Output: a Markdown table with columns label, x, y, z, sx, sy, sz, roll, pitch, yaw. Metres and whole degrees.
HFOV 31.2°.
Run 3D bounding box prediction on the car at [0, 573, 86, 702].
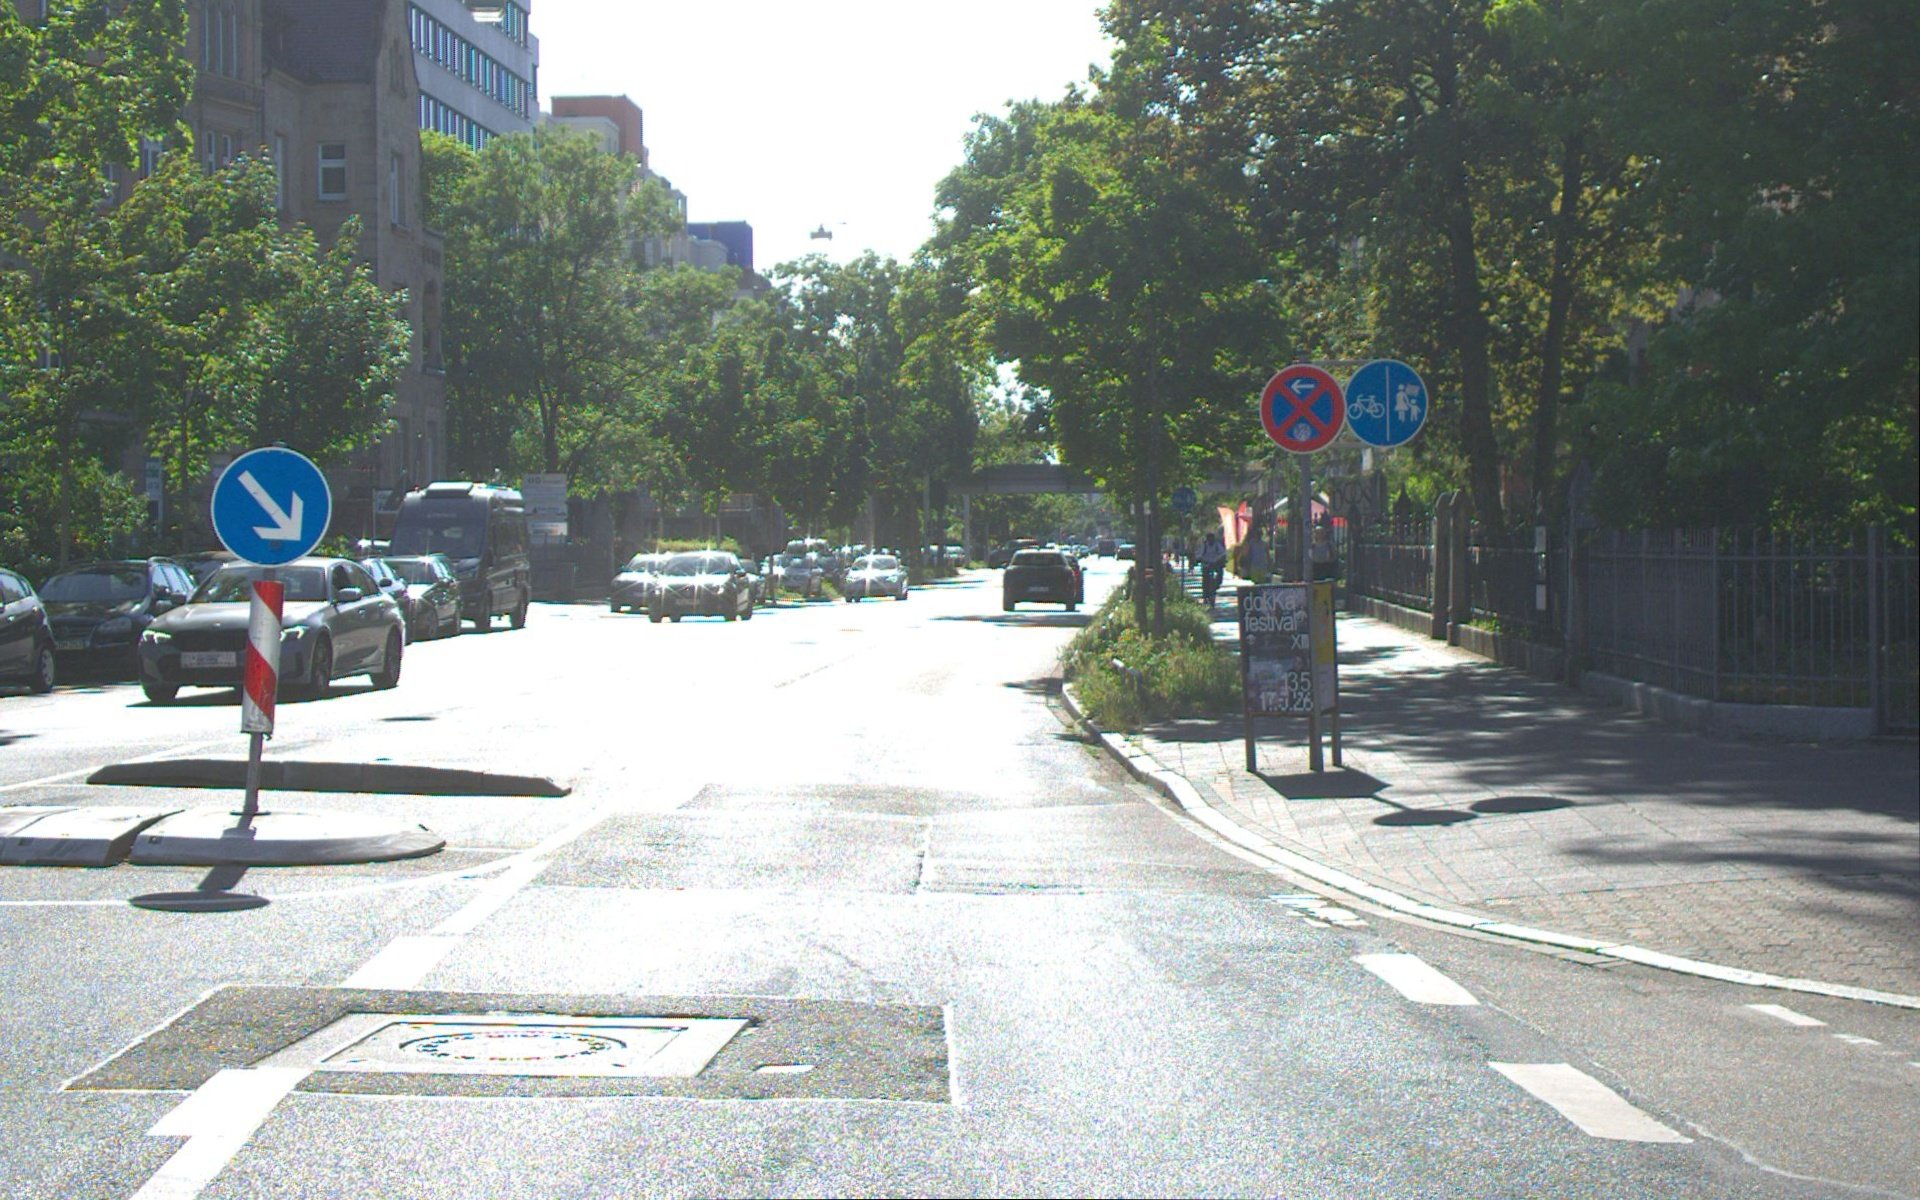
| label | x | y | z | sx | sy | sz | roll | pitch | yaw |
| --- | --- | --- | --- | --- | --- | --- | --- | --- | --- |
| car | -10.932 | 0.417 | 37.307 | 1.713 | 1.348 | 3.999 | 1 | -2 | 3 |

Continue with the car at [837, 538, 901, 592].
| label | x | y | z | sx | sy | sz | roll | pitch | yaw |
| --- | --- | --- | --- | --- | --- | --- | --- | --- | --- |
| car | -2.841 | -1.074 | 107.920 | 1.935 | 1.514 | 4.030 | 1 | -2 | -1 |

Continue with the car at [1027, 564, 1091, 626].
| label | x | y | z | sx | sy | sz | roll | pitch | yaw |
| --- | --- | --- | --- | --- | --- | --- | --- | --- | --- |
| car | 2.951 | -0.162 | 101.958 | 1.819 | 1.734 | 4.000 | 0 | 1 | 2 |

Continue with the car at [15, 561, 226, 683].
| label | x | y | z | sx | sy | sz | roll | pitch | yaw |
| --- | --- | --- | --- | --- | --- | --- | --- | --- | --- |
| car | -10.452 | 0.301 | 43.006 | 1.524 | 1.428 | 3.336 | 0 | -2 | 5 |

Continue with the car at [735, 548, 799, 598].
| label | x | y | z | sx | sy | sz | roll | pitch | yaw |
| --- | --- | --- | --- | --- | --- | --- | --- | --- | --- |
| car | -6.476 | -0.905 | 115.704 | 1.935 | 1.514 | 4.030 | 1 | -2 | -1 |

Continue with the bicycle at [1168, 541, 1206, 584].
| label | x | y | z | sx | sy | sz | roll | pitch | yaw |
| --- | --- | --- | --- | --- | --- | --- | --- | --- | --- |
| bicycle | 5.220 | -0.860 | 79.106 | 0.675 | 0.935 | 2.281 | 0 | 0 | -1 |

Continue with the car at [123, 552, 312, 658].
| label | x | y | z | sx | sy | sz | roll | pitch | yaw |
| --- | --- | --- | --- | --- | --- | --- | --- | --- | --- |
| car | -10.473 | 0.043 | 48.703 | 1.524 | 1.427 | 3.553 | 0 | 1 | 7 |

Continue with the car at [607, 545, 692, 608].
| label | x | y | z | sx | sy | sz | roll | pitch | yaw |
| --- | --- | --- | --- | --- | --- | --- | --- | --- | --- |
| car | -7.757 | -0.609 | 86.256 | 1.802 | 1.499 | 3.808 | 0 | 1 | 0 |

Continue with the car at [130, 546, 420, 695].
| label | x | y | z | sx | sy | sz | roll | pitch | yaw |
| --- | --- | --- | --- | --- | --- | --- | --- | --- | --- |
| car | -7.115 | 0.191 | 36.152 | 1.784 | 1.455 | 4.414 | 0 | 0 | 5 |

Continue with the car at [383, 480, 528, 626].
| label | x | y | z | sx | sy | sz | roll | pitch | yaw |
| --- | --- | --- | --- | --- | --- | --- | --- | --- | --- |
| car | -9.507 | -0.929 | 65.156 | 1.826 | 2.642 | 5.162 | 0 | 2 | 2 |

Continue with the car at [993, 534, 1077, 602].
| label | x | y | z | sx | sy | sz | roll | pitch | yaw |
| --- | --- | --- | --- | --- | --- | --- | --- | --- | --- |
| car | 1.837 | -0.825 | 85.775 | 1.894 | 1.513 | 4.001 | 2 | 2 | -1 |

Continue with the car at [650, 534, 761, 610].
| label | x | y | z | sx | sy | sz | roll | pitch | yaw |
| --- | --- | --- | --- | --- | --- | --- | --- | --- | --- |
| car | -5.258 | -0.597 | 71.377 | 1.639 | 1.514 | 4.030 | 0 | 1 | 5 |

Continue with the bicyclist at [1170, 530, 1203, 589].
| label | x | y | z | sx | sy | sz | roll | pitch | yaw |
| --- | --- | --- | --- | --- | --- | --- | --- | --- | --- |
| bicyclist | 5.219 | -0.929 | 79.159 | 0.680 | 1.323 | 0.636 | 1 | -2 | -1 |

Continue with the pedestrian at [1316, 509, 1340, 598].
| label | x | y | z | sx | sy | sz | roll | pitch | yaw |
| --- | --- | --- | --- | --- | --- | --- | --- | --- | --- |
| pedestrian | 8.442 | -1.068 | 78.848 | 0.476 | 2.007 | 0.492 | 1 | -2 | -1 |

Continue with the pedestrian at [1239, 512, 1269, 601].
| label | x | y | z | sx | sy | sz | roll | pitch | yaw |
| --- | --- | --- | --- | --- | --- | --- | --- | --- | --- |
| pedestrian | 6.738 | -1.000 | 78.833 | 0.614 | 2.007 | 0.681 | 0 | 1 | -1 |
